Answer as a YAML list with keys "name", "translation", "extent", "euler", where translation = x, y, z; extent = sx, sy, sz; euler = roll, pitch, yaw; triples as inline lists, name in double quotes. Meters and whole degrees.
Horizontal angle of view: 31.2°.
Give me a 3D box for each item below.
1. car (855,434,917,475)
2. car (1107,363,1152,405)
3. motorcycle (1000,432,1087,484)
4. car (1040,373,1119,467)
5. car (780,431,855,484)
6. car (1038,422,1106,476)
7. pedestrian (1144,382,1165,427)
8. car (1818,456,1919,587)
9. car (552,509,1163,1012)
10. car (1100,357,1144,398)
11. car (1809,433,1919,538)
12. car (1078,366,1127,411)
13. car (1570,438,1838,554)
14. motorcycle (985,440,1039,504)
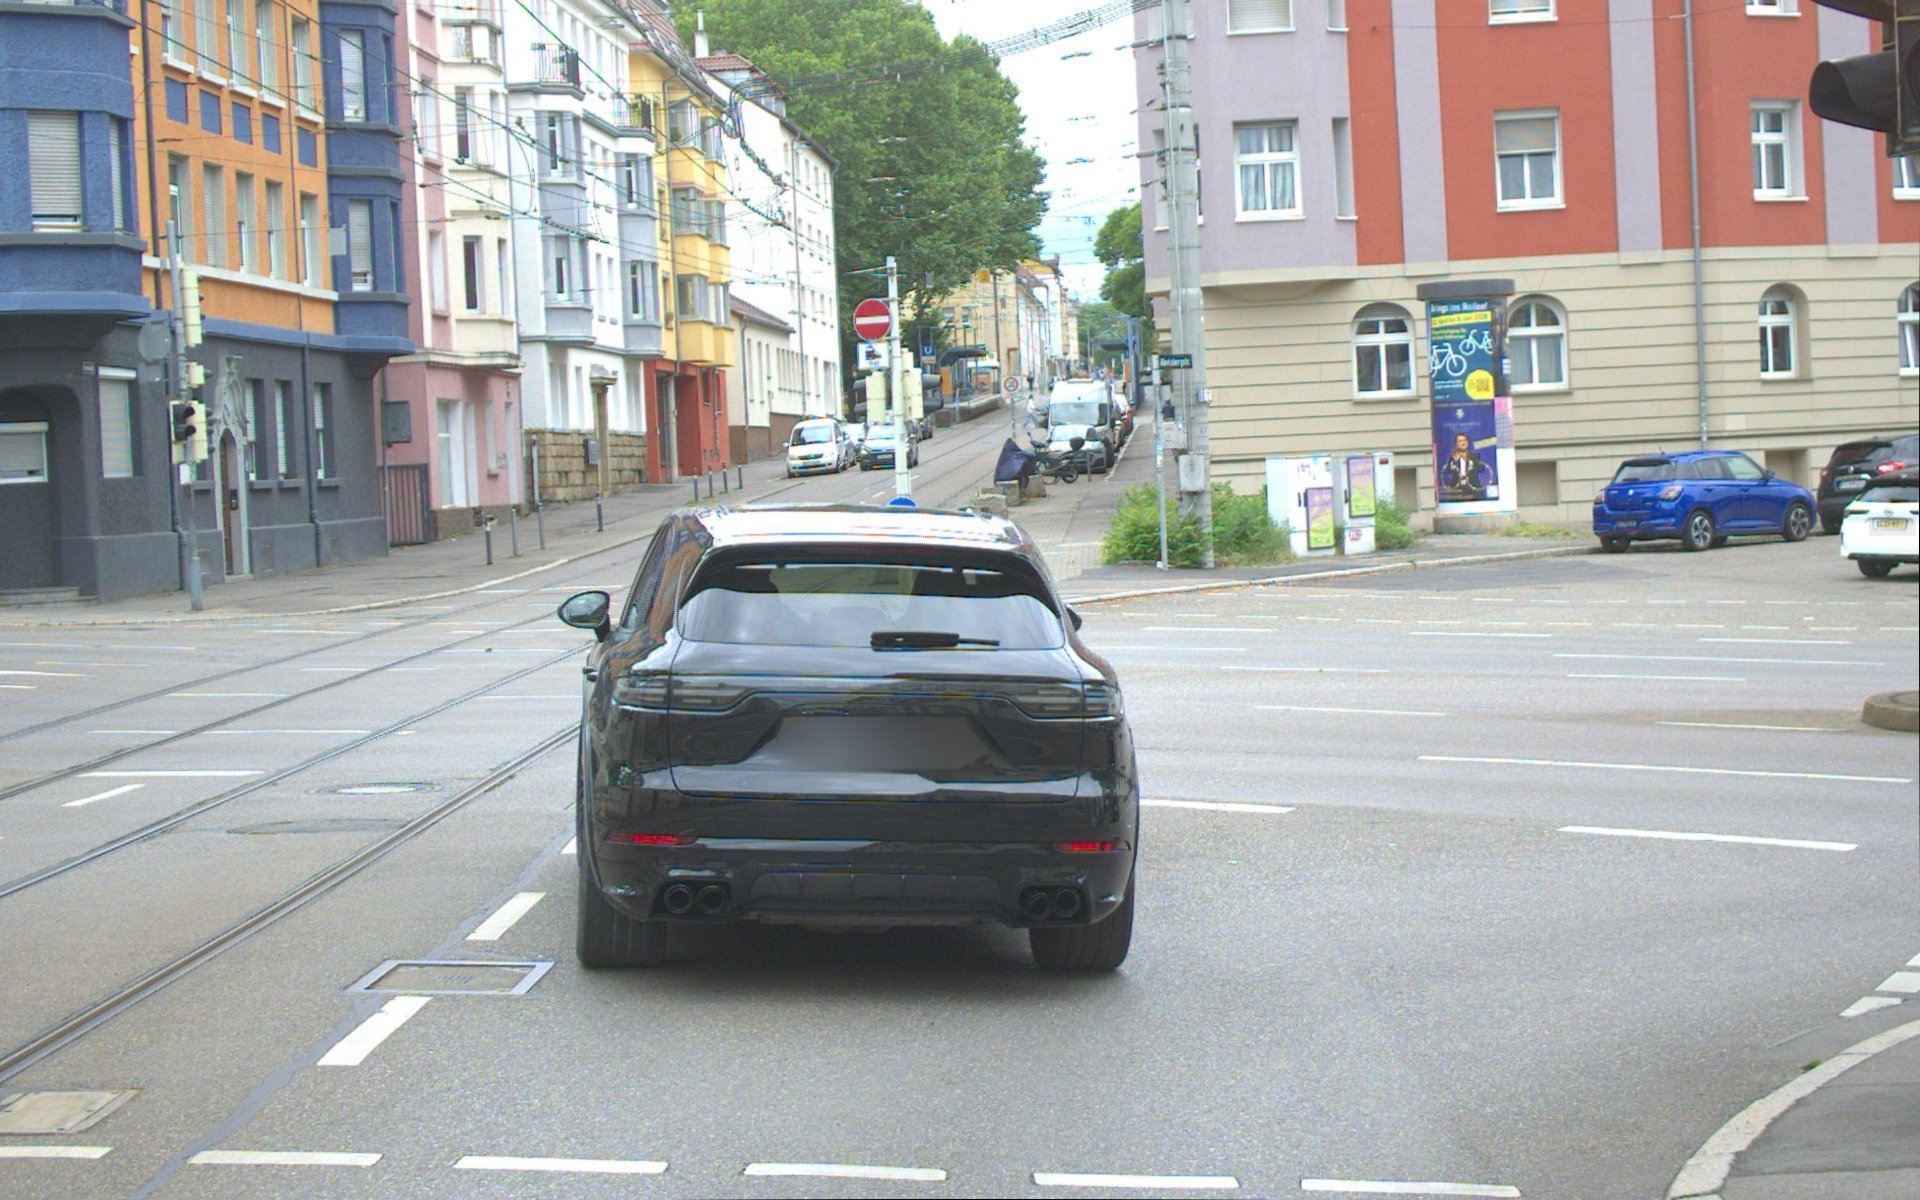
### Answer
- name: "car"
  translation: [-2.418, -4.825, 113.615]
  extent: [1.686, 1.322, 3.662]
  euler: [0, 3, 5]
- name: "car"
  translation: [9.026, -11.468, 182.974]
  extent: [2.267, 2.176, 4.769]
  euler: [0, 3, 5]
- name: "motorcycle"
  translation: [2.156, -3.698, 89.242]
  extent: [2.176, 1.322, 0.700]
  euler: [-1, 3, -6]
- name: "car"
  translation: [3.796, -5.690, 108.602]
  extent: [2.267, 2.880, 4.769]
  euler: [0, 3, 5]
- name: "car"
  translation: [-4.717, -4.751, 114.408]
  extent: [1.994, 1.686, 4.000]
  euler: [0, 3, 5]
- name: "car"
  translation: [3.365, -4.496, 102.330]
  extent: [1.840, 1.563, 3.819]
  euler: [0, 3, 5]
- name: "pedestrian"
  translation: [7.302, -7.344, 129.069]
  extent: [0.680, 1.626, 0.673]
  euler: [0, 0, 13]
- name: "car"
  translation: [13.180, -1.095, 44.933]
  extent: [4.131, 1.529, 1.917]
  euler: [-6, 6, -44]
- name: "car"
  translation: [-0.574, 0.474, 13.552]
  extent: [2.023, 1.636, 4.357]
  euler: [0, 2, -6]
- name: "car"
  translation: [8.934, -12.239, 189.233]
  extent: [2.267, 2.176, 4.769]
  euler: [0, 3, 5]
- name: "car"
  translation: [15.925, -1.920, 56.221]
  extent: [4.130, 1.529, 1.918]
  euler: [-5, 6, -40]
- name: "car"
  translation: [7.026, -10.392, 169.096]
  extent: [2.267, 2.176, 4.769]
  euler: [0, 3, 5]
- name: "car"
  translation: [11.410, -1.620, 52.611]
  extent: [4.130, 1.529, 1.918]
  euler: [-5, 6, -41]
- name: "motorcycle"
  translation: [1.185, -2.940, 78.750]
  extent: [0.859, 1.322, 2.185]
  euler: [-7, 4, -5]
